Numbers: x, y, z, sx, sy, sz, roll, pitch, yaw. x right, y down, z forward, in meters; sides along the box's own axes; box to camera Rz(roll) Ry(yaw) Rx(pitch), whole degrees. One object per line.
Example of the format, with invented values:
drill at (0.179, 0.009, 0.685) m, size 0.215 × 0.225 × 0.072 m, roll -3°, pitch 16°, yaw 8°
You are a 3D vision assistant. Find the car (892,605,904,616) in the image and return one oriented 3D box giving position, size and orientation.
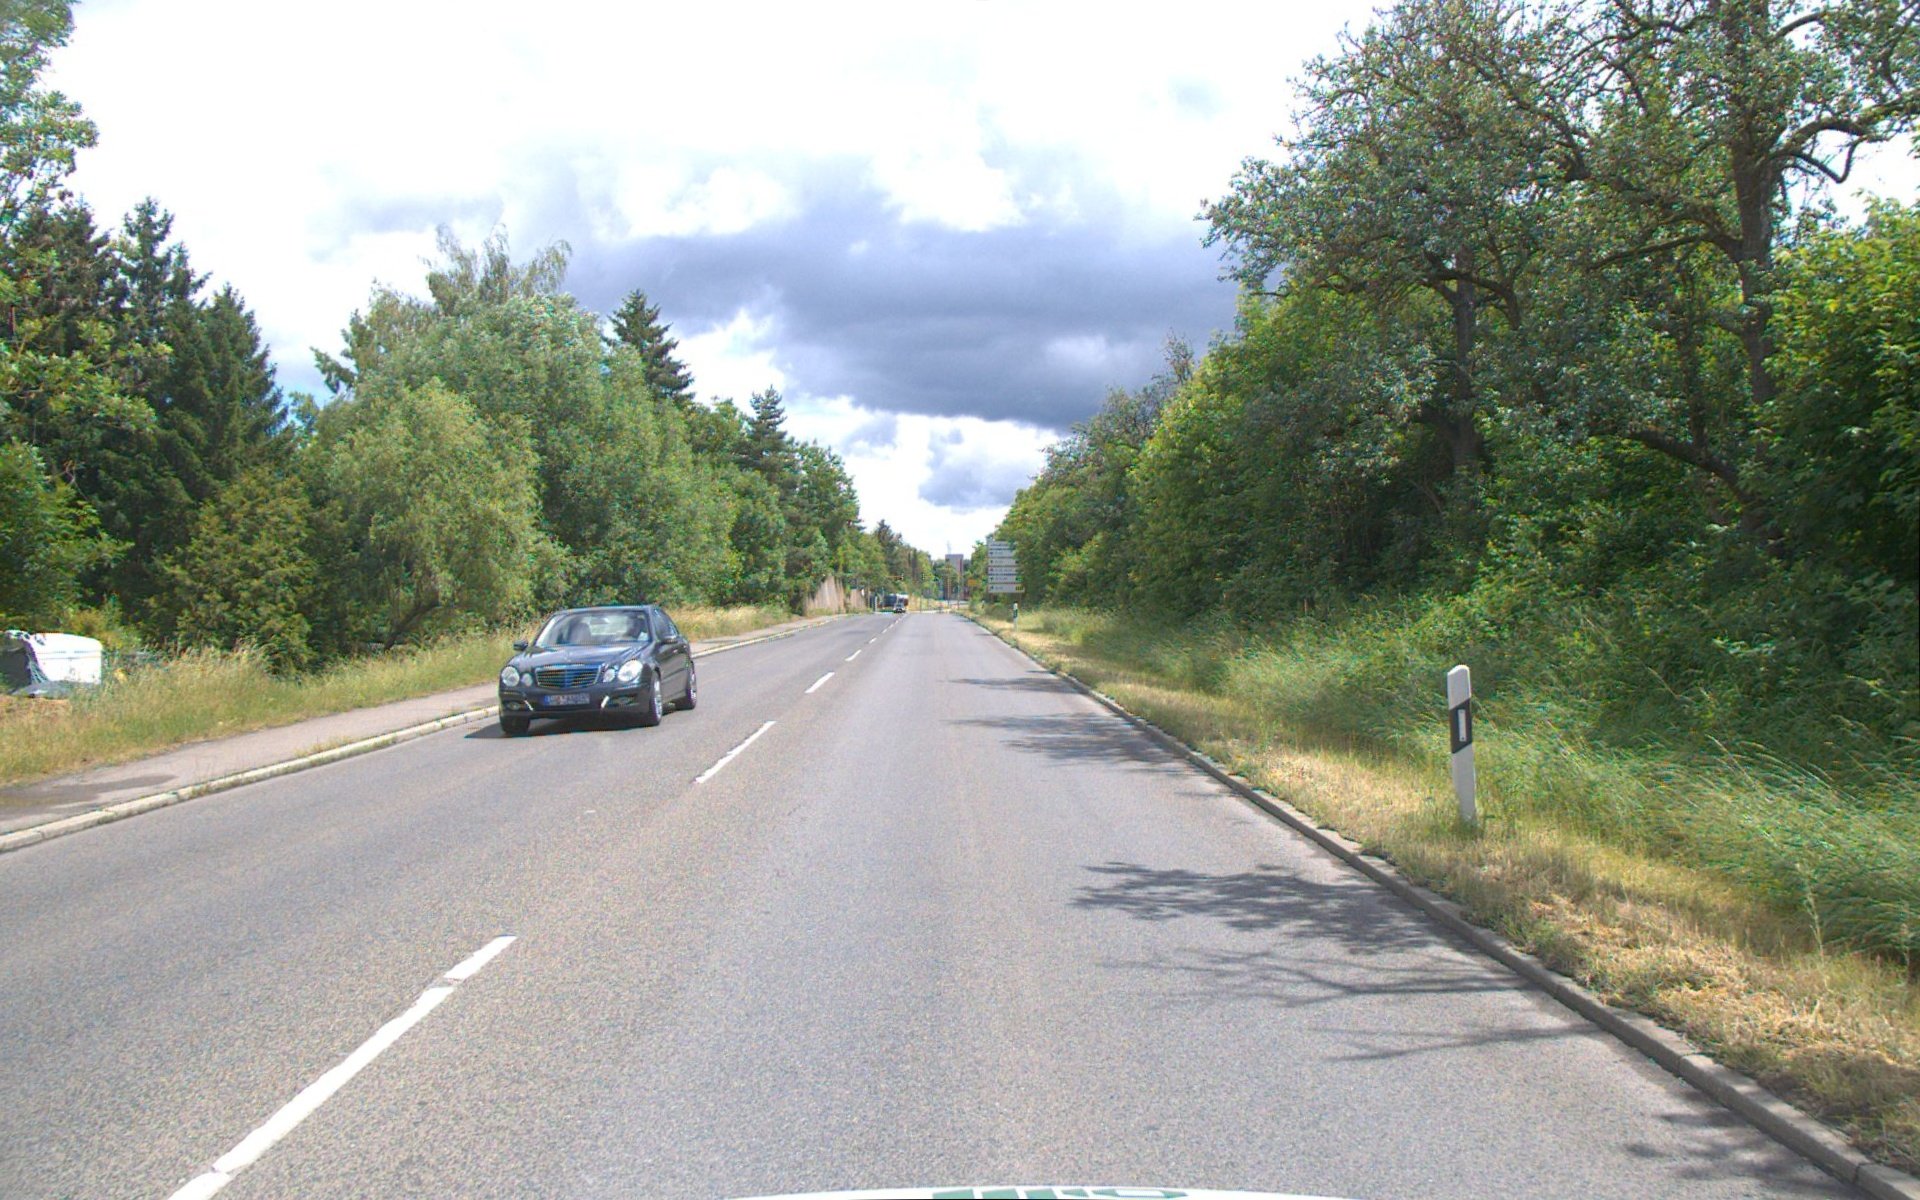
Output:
car at (-8.809, 1.460, 235.109) m, size 1.716 × 1.489 × 3.999 m, roll -1°, pitch 0°, yaw -1°

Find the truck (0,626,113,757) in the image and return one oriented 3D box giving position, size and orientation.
truck at (-21.916, 2.055, 35.950) m, size 6.071 × 2.654 × 2.002 m, roll -3°, pitch 0°, yaw 8°

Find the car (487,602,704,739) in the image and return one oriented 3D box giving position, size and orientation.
car at (-4.327, 0.768, 20.326) m, size 1.749 × 1.357 × 4.621 m, roll -3°, pitch 1°, yaw -2°
